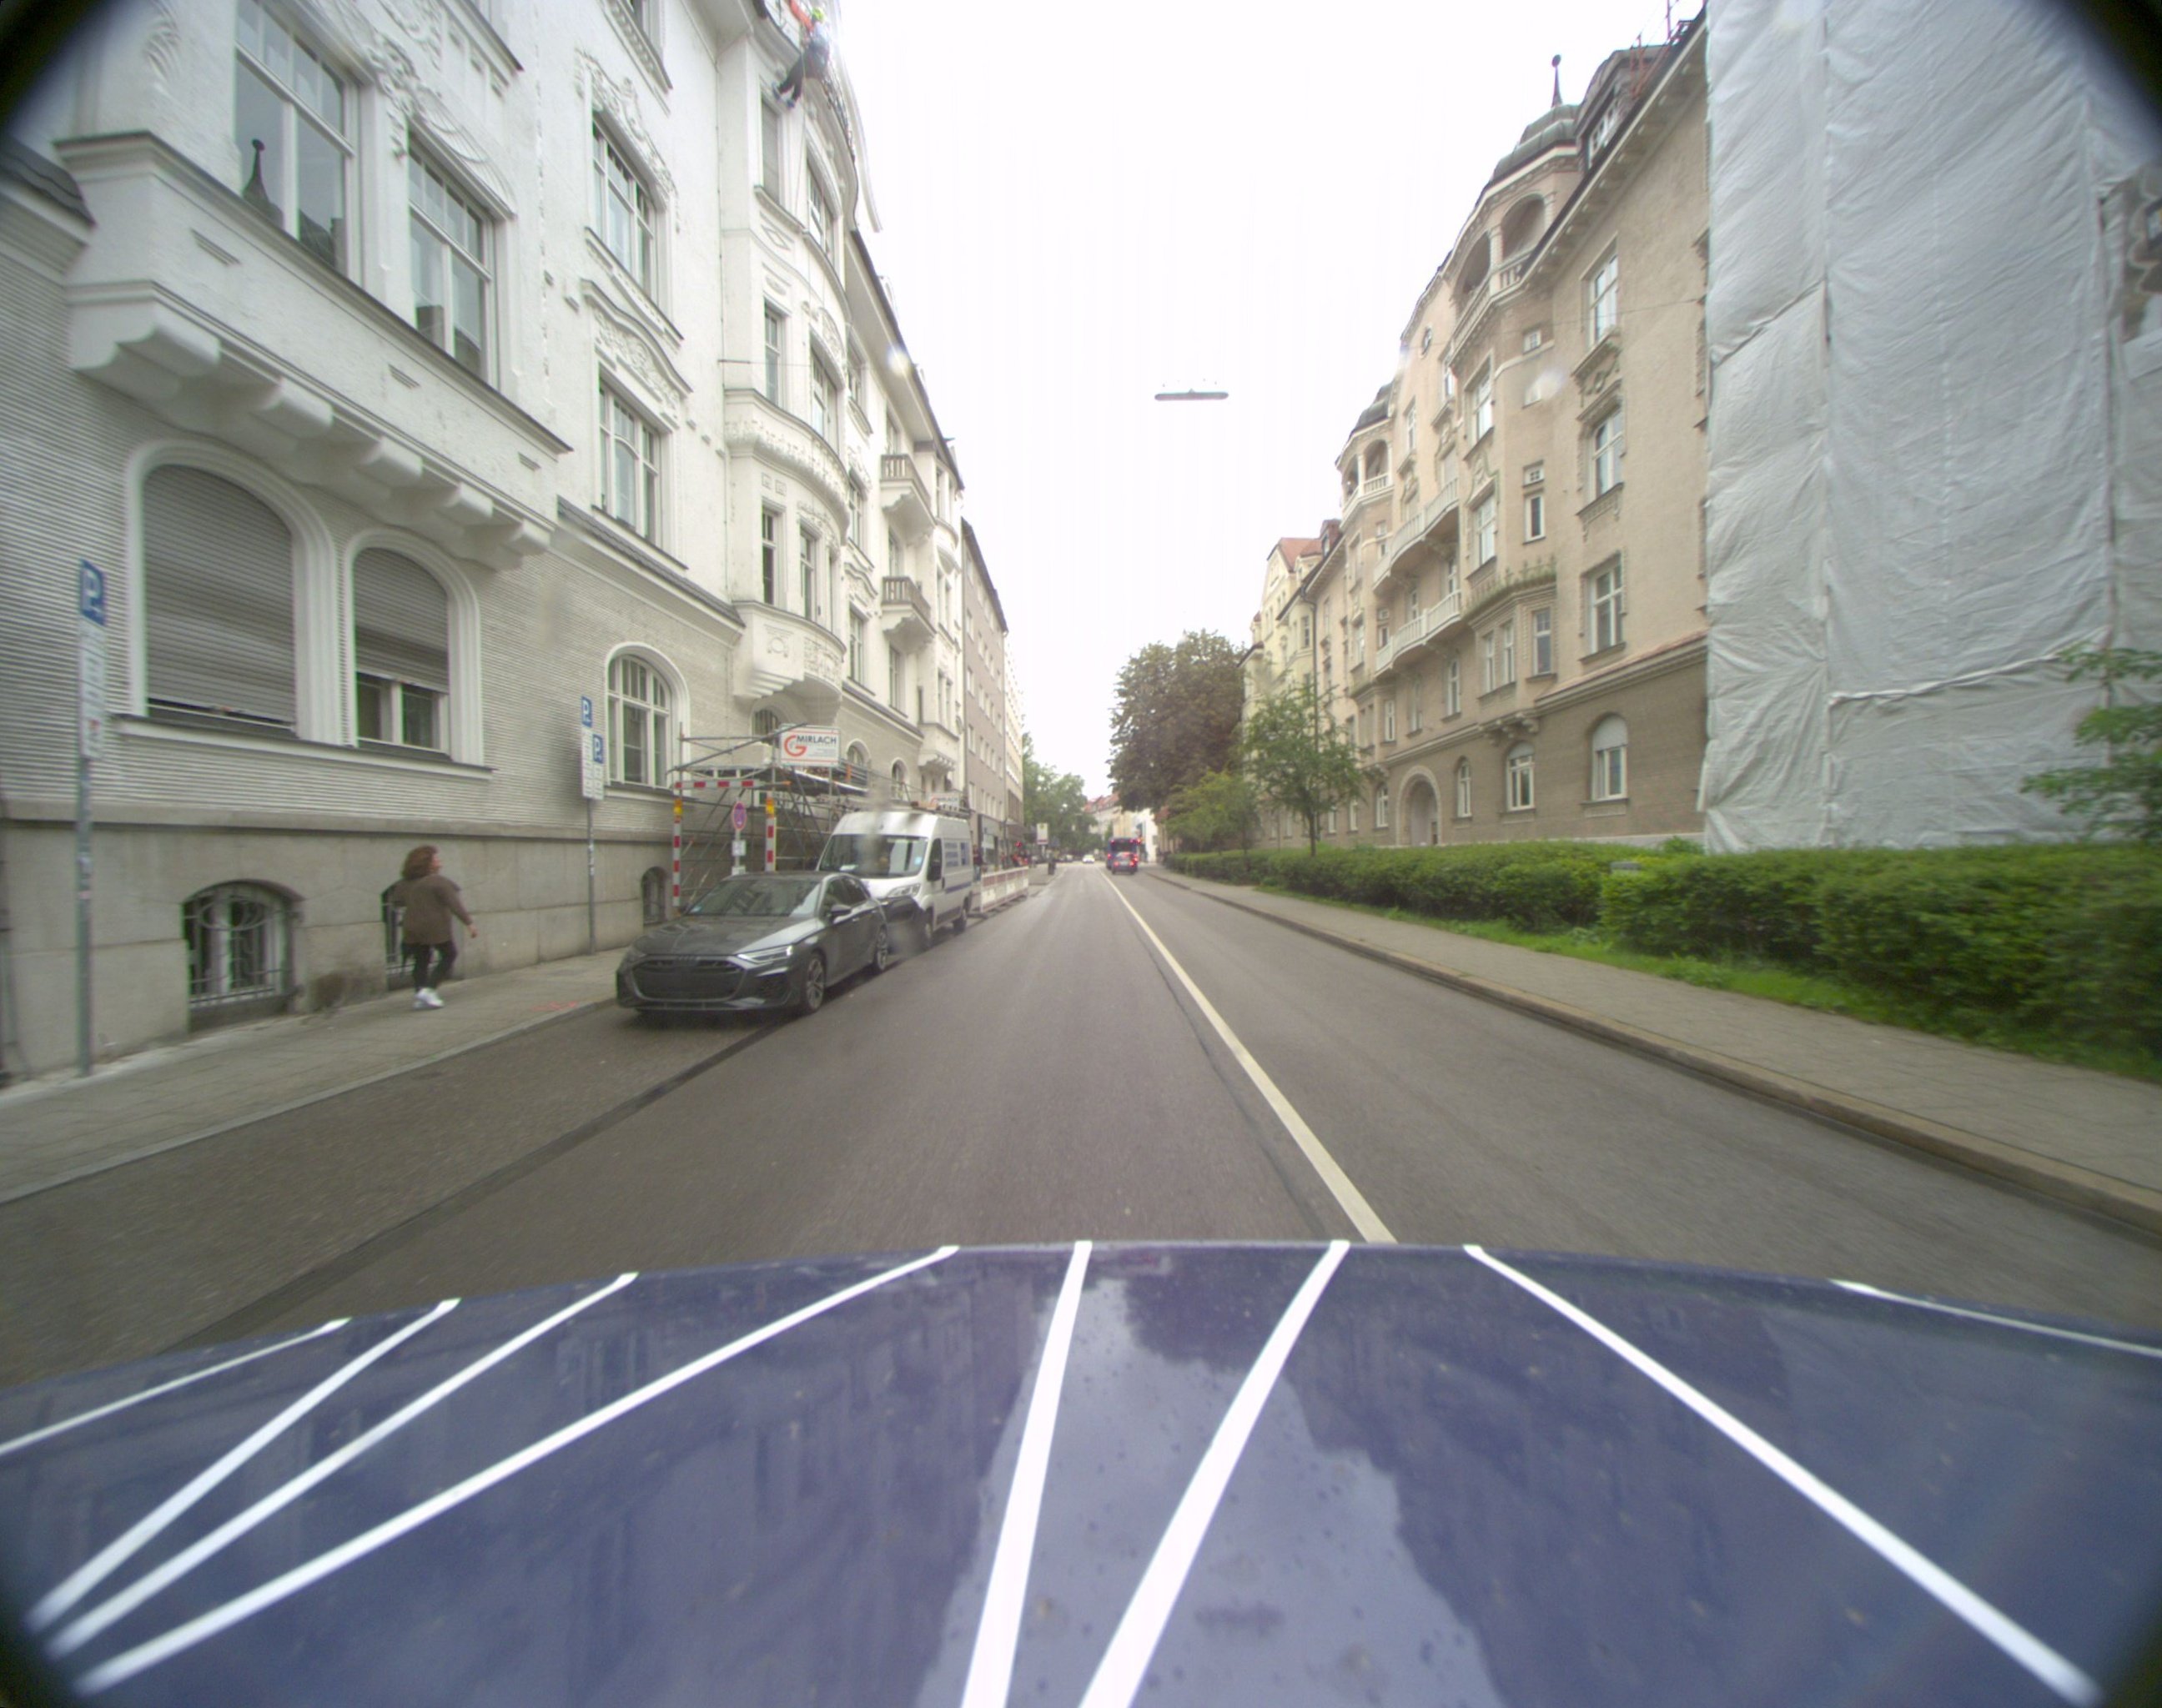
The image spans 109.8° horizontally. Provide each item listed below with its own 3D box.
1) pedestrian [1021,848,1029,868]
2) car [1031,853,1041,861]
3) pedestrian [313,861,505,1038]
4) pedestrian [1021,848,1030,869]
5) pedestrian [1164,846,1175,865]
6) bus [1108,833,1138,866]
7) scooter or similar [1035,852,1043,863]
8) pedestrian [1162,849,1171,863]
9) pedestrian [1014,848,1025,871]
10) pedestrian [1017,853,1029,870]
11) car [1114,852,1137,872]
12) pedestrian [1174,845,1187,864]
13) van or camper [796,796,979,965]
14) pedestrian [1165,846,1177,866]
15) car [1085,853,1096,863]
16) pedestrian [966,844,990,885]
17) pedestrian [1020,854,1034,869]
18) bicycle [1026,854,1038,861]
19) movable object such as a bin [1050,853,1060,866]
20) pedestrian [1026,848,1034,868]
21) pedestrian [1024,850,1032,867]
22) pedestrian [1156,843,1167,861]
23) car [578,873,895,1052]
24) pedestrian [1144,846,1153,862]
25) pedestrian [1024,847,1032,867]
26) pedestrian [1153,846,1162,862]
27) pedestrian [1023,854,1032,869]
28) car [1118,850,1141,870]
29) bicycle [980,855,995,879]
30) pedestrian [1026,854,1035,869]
[{"bbox_3d":[-4.778,0.365,64.944,0.659,1.723,0.778,-1,1,1],"label":"pedestrian"},{"bbox_3d":[-8.583,0.600,145.876,1.718,1.543,3.999,-1,0,-1],"label":"car"},{"bbox_3d":[-6.453,0.873,7.374,0.923,1.546,1.016,1,2,1],"label":"pedestrian"},{"bbox_3d":[-4.666,0.361,63.547,0.659,1.723,0.684,-1,1,1],"label":"pedestrian"},{"bbox_3d":[8.069,0.135,69.043,0.875,1.735,0.910,-1,1,0],"label":"pedestrian"},{"bbox_3d":[4.030,-0.436,74.144,2.586,3.083,8.923,-1,0,1],"label":"bus"},{"bbox_3d":[-4.764,0.382,86.048,0.563,1.234,1.445,-1,1,11],"label":"scooter or similar"},{"bbox_3d":[8.738,0.202,77.717,0.830,1.333,0.754,-1,1,-1],"label":"pedestrian"},{"bbox_3d":[-4.630,0.398,57.055,0.704,1.723,0.746,-1,1,1],"label":"pedestrian"},{"bbox_3d":[-4.586,0.575,59.737,0.862,1.344,0.862,-1,1,1],"label":"pedestrian"},{"bbox_3d":[3.340,0.584,57.657,1.588,1.471,3.782,-1,0,1],"label":"car"},{"bbox_3d":[9.055,0.071,69.163,0.784,1.735,0.877,0,1,33],"label":"pedestrian"},{"bbox_3d":[-3.403,0.392,14.634,1.958,2.621,5.458,-1,1,1],"label":"van or camper"},{"bbox_3d":[7.958,0.165,67.295,0.910,1.735,0.847,-1,1,0],"label":"pedestrian"},{"bbox_3d":[1.690,0.646,133.191,1.927,1.608,3.999,-1,1,0],"label":"car"},{"bbox_3d":[-4.890,0.508,36.213,0.929,1.899,1.179,1,1,1],"label":"pedestrian"},{"bbox_3d":[-4.364,0.606,61.431,1.099,1.230,0.668,-1,1,1],"label":"pedestrian"},{"bbox_3d":[-8.519,0.645,131.757,2.124,1.110,0.738,-1,1,-9],"label":"bicycle"},{"bbox_3d":[-2.598,0.568,76.094,0.877,1.243,0.798,-1,1,-5],"label":"movable object such as a bin"},{"bbox_3d":[-4.507,0.354,66.851,0.659,1.723,0.696,-1,1,1],"label":"pedestrian"},{"bbox_3d":[-4.774,0.408,68.721,0.659,1.584,0.696,-1,1,1],"label":"pedestrian"},{"bbox_3d":[9.041,-0.204,85.459,0.832,2.002,0.778,-2,1,-42],"label":"pedestrian"},{"bbox_3d":[-3.532,1.006,8.737,1.758,1.426,4.086,-1,0,0],"label":"car"},{"bbox_3d":[8.823,0.017,99.589,0.952,2.002,1.397,-1,1,11],"label":"pedestrian"},{"bbox_3d":[-4.838,0.286,69.936,0.659,1.812,0.696,-1,1,1],"label":"pedestrian"},{"bbox_3d":[10.048,-0.029,99.468,0.952,2.002,1.397,-1,1,11],"label":"pedestrian"},{"bbox_3d":[-4.406,0.606,62.976,0.681,1.230,0.495,-1,1,1],"label":"pedestrian"},{"bbox_3d":[4.073,0.481,64.523,1.772,1.635,4.273,-1,0,1],"label":"car"},{"bbox_3d":[-5.208,0.728,42.320,0.513,1.253,1.820,3,1,1],"label":"bicycle"},{"bbox_3d":[-4.157,0.619,62.470,0.709,1.230,0.585,-1,1,1],"label":"pedestrian"}]
